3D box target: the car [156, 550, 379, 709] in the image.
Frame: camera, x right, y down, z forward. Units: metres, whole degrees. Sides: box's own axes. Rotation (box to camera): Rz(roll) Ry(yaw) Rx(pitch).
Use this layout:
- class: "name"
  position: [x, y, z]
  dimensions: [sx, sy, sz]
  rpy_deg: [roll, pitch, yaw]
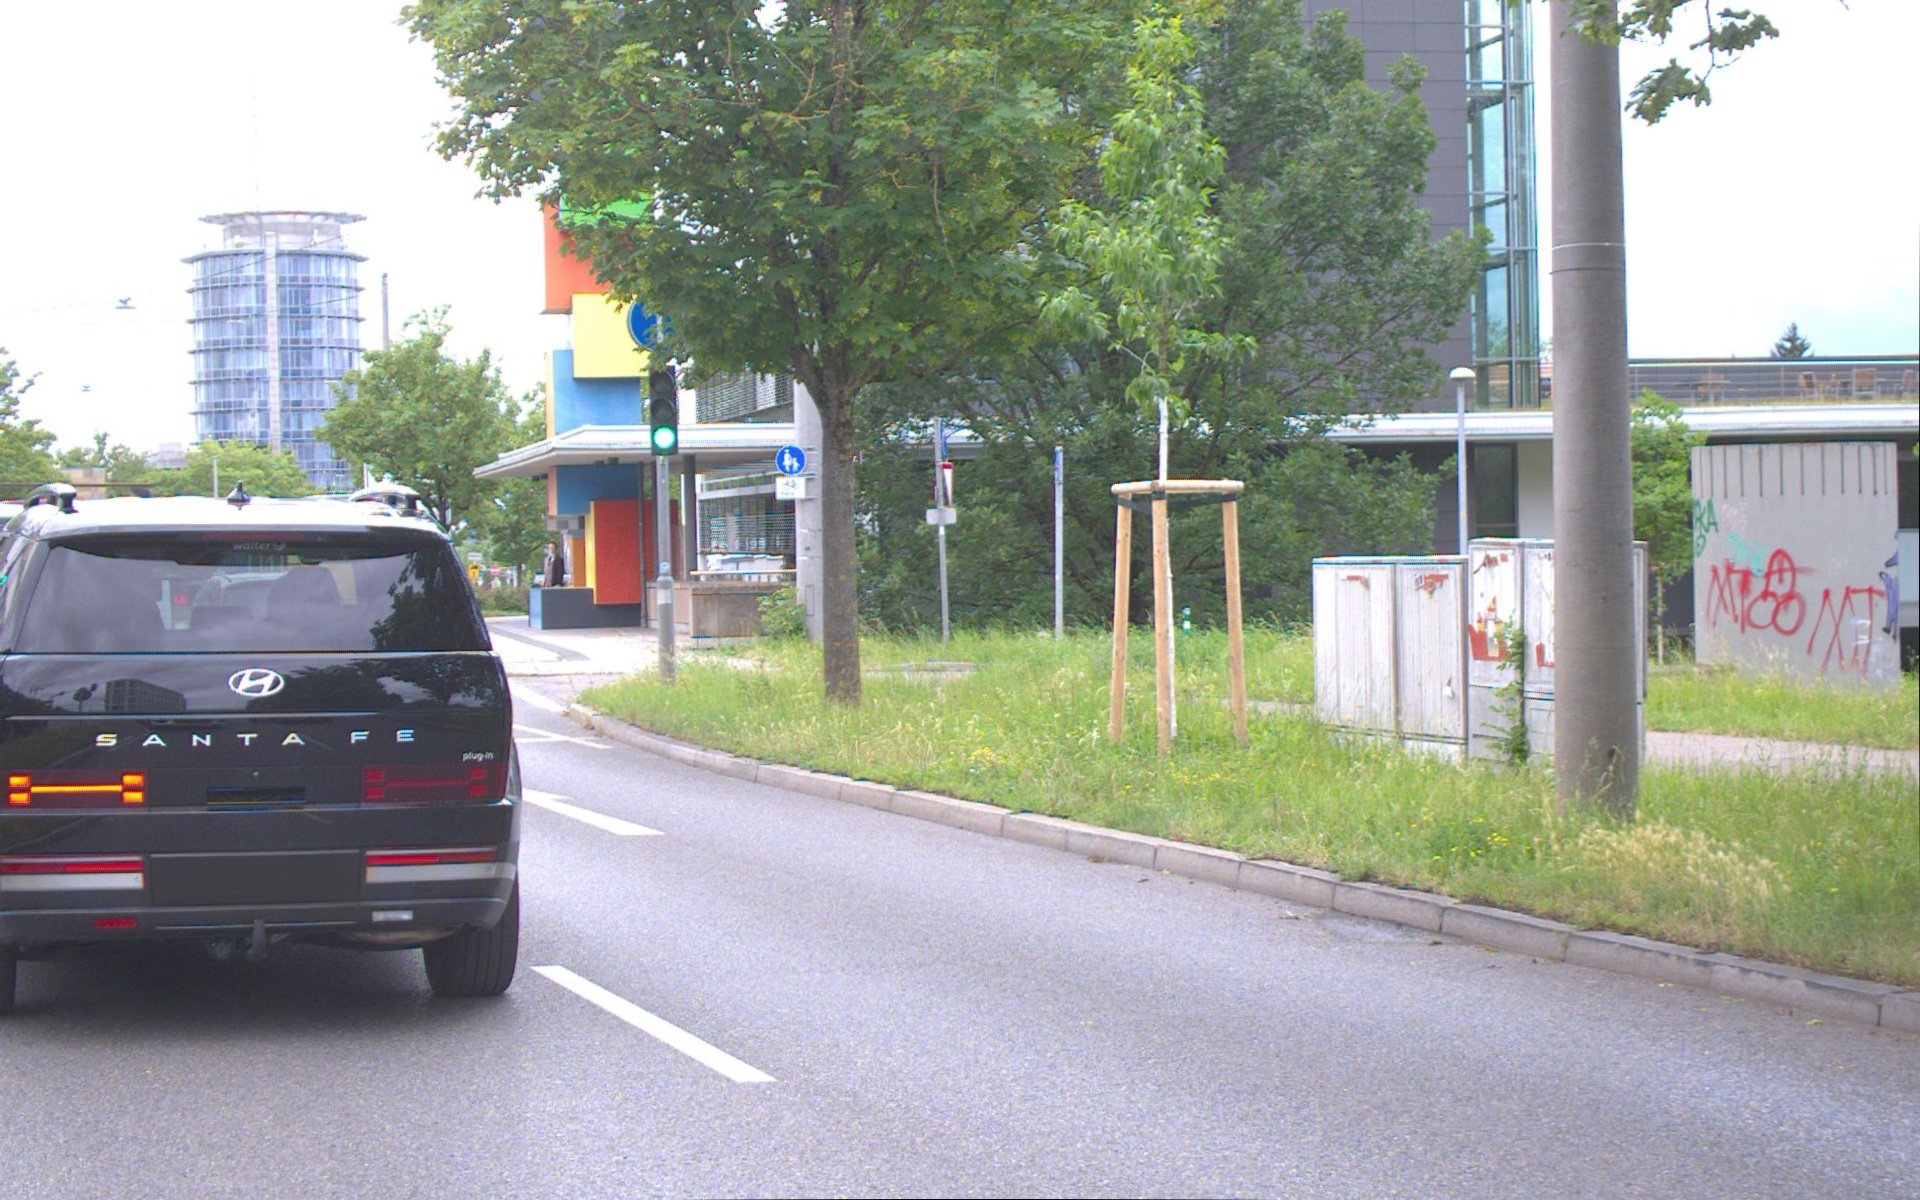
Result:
- class: "car"
  position: [-7.464, 0.263, 36.726]
  dimensions: [1.901, 1.537, 4.711]
  rpy_deg: [0, 1, -17]

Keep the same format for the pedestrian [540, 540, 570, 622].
- class: "pedestrian"
  position: [-8.307, -0.396, 70.530]
  dimensions: [0.524, 1.667, 0.733]
  rpy_deg: [-1, 0, -10]

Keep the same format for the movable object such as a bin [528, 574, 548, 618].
- class: "movable object such as a bin"
  position: [-8.577, -0.082, 69.815]
  dimensions: [0.356, 0.894, 0.462]
  rpy_deg: [-1, 0, -10]

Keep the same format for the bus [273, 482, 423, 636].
- class: "bus"
  position: [-13.596, -0.892, 76.680]
  dimensions: [2.965, 3.106, 9.246]
  rpy_deg: [-2, 1, -9]

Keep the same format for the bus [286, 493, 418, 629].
- class: "bus"
  position: [-15.169, -0.954, 86.065]
  dimensions: [2.951, 3.101, 9.978]
  rpy_deg: [-2, 1, -9]

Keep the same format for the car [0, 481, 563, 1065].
- class: "car"
  position: [-2.787, 0.465, 12.484]
  dimensions: [1.901, 1.725, 4.448]
  rpy_deg: [0, 1, -17]

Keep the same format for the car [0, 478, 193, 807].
- class: "car"
  position: [-6.326, 0.205, 22.774]
  dimensions: [1.901, 1.962, 4.637]
  rpy_deg: [0, 1, -19]
